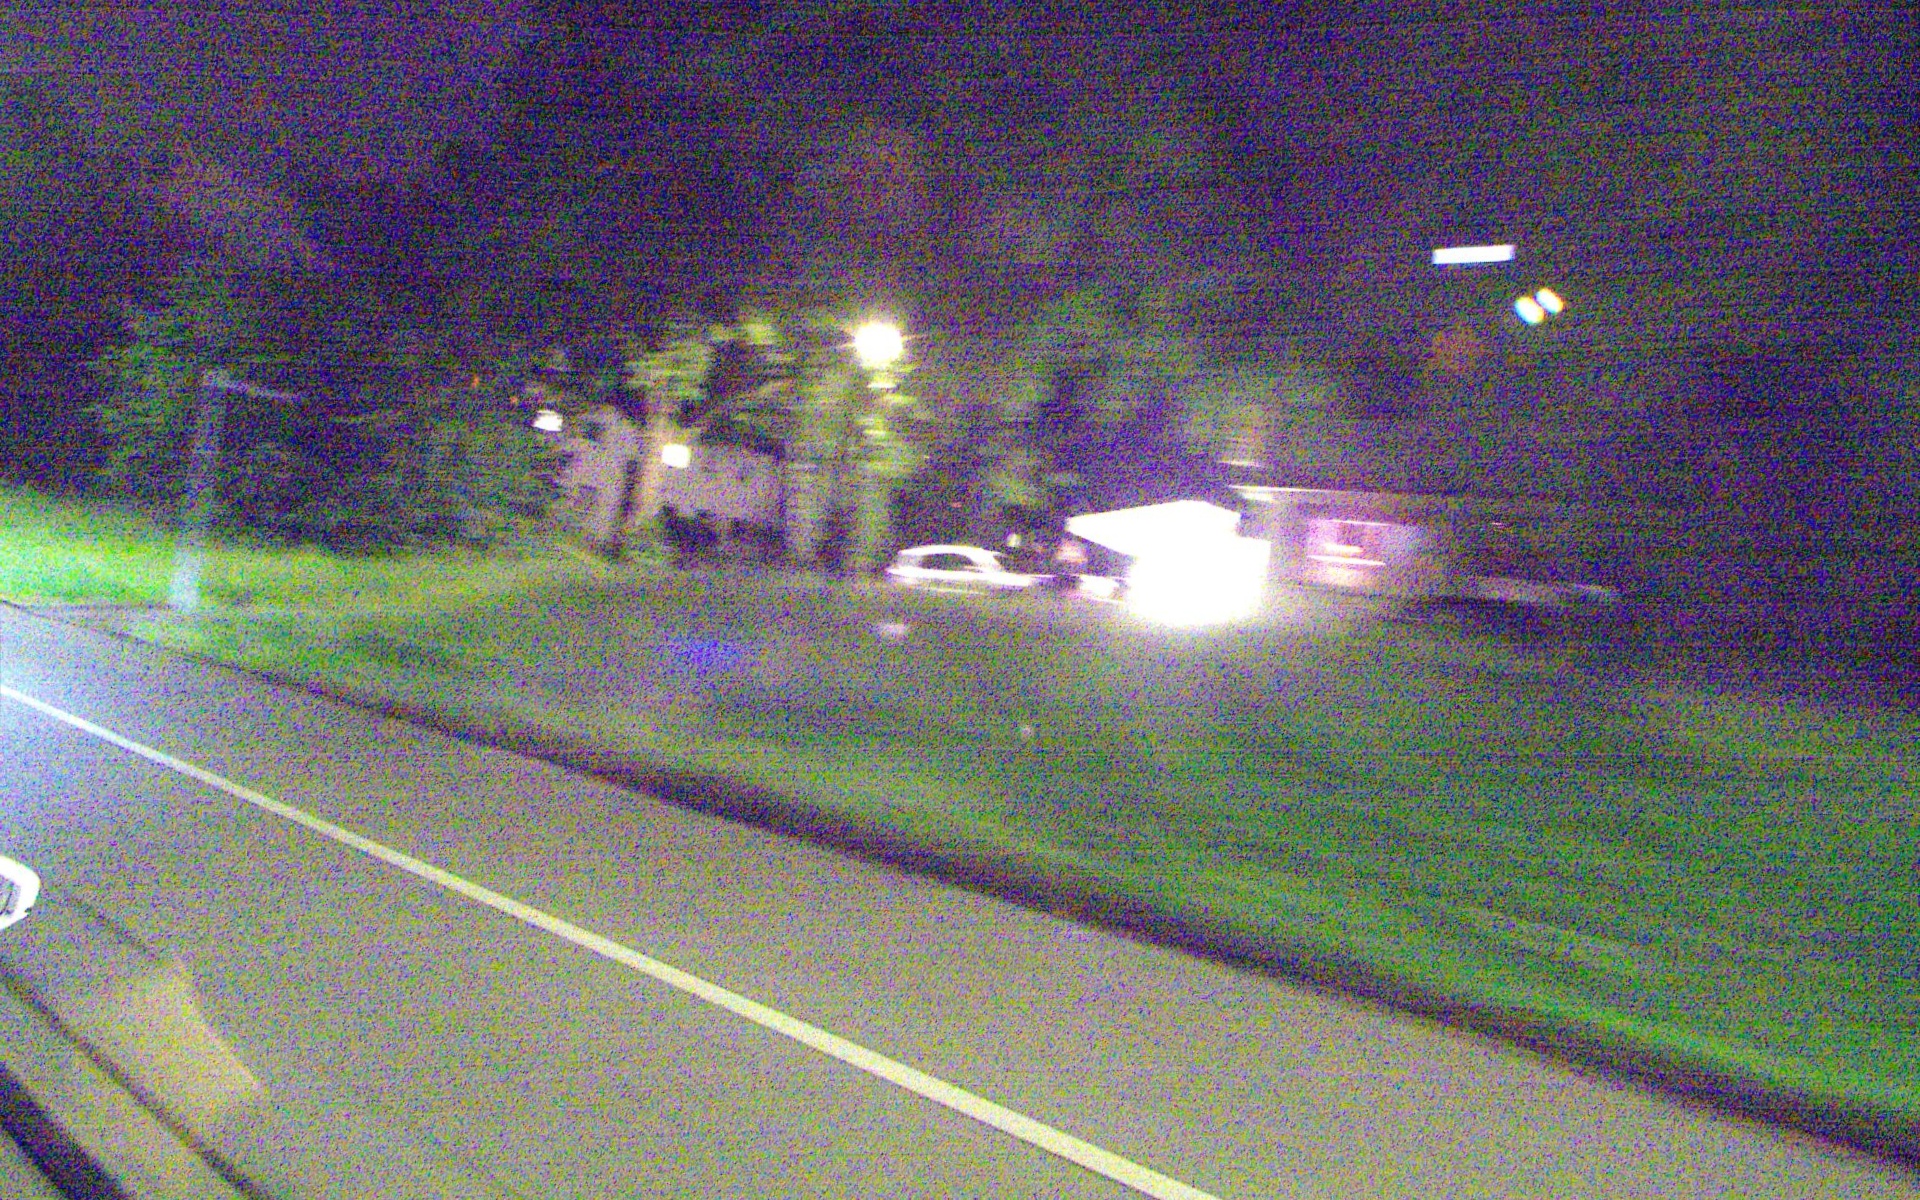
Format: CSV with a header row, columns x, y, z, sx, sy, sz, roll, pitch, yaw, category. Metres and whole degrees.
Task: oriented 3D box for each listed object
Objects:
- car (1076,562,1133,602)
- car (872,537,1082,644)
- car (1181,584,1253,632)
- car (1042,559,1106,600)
x,y,z,sx,sy,sz,roll,pitch,yaw,category
8.712,-1.060,60.436,1.965,2.040,3.992,7,1,28,car
0.340,-0.223,21.956,4.048,1.862,1.951,7,2,34,car
11.357,0.392,44.308,1.924,1.760,4.201,7,1,29,car
6.392,-1.111,55.898,1.924,1.861,4.201,7,1,29,car
